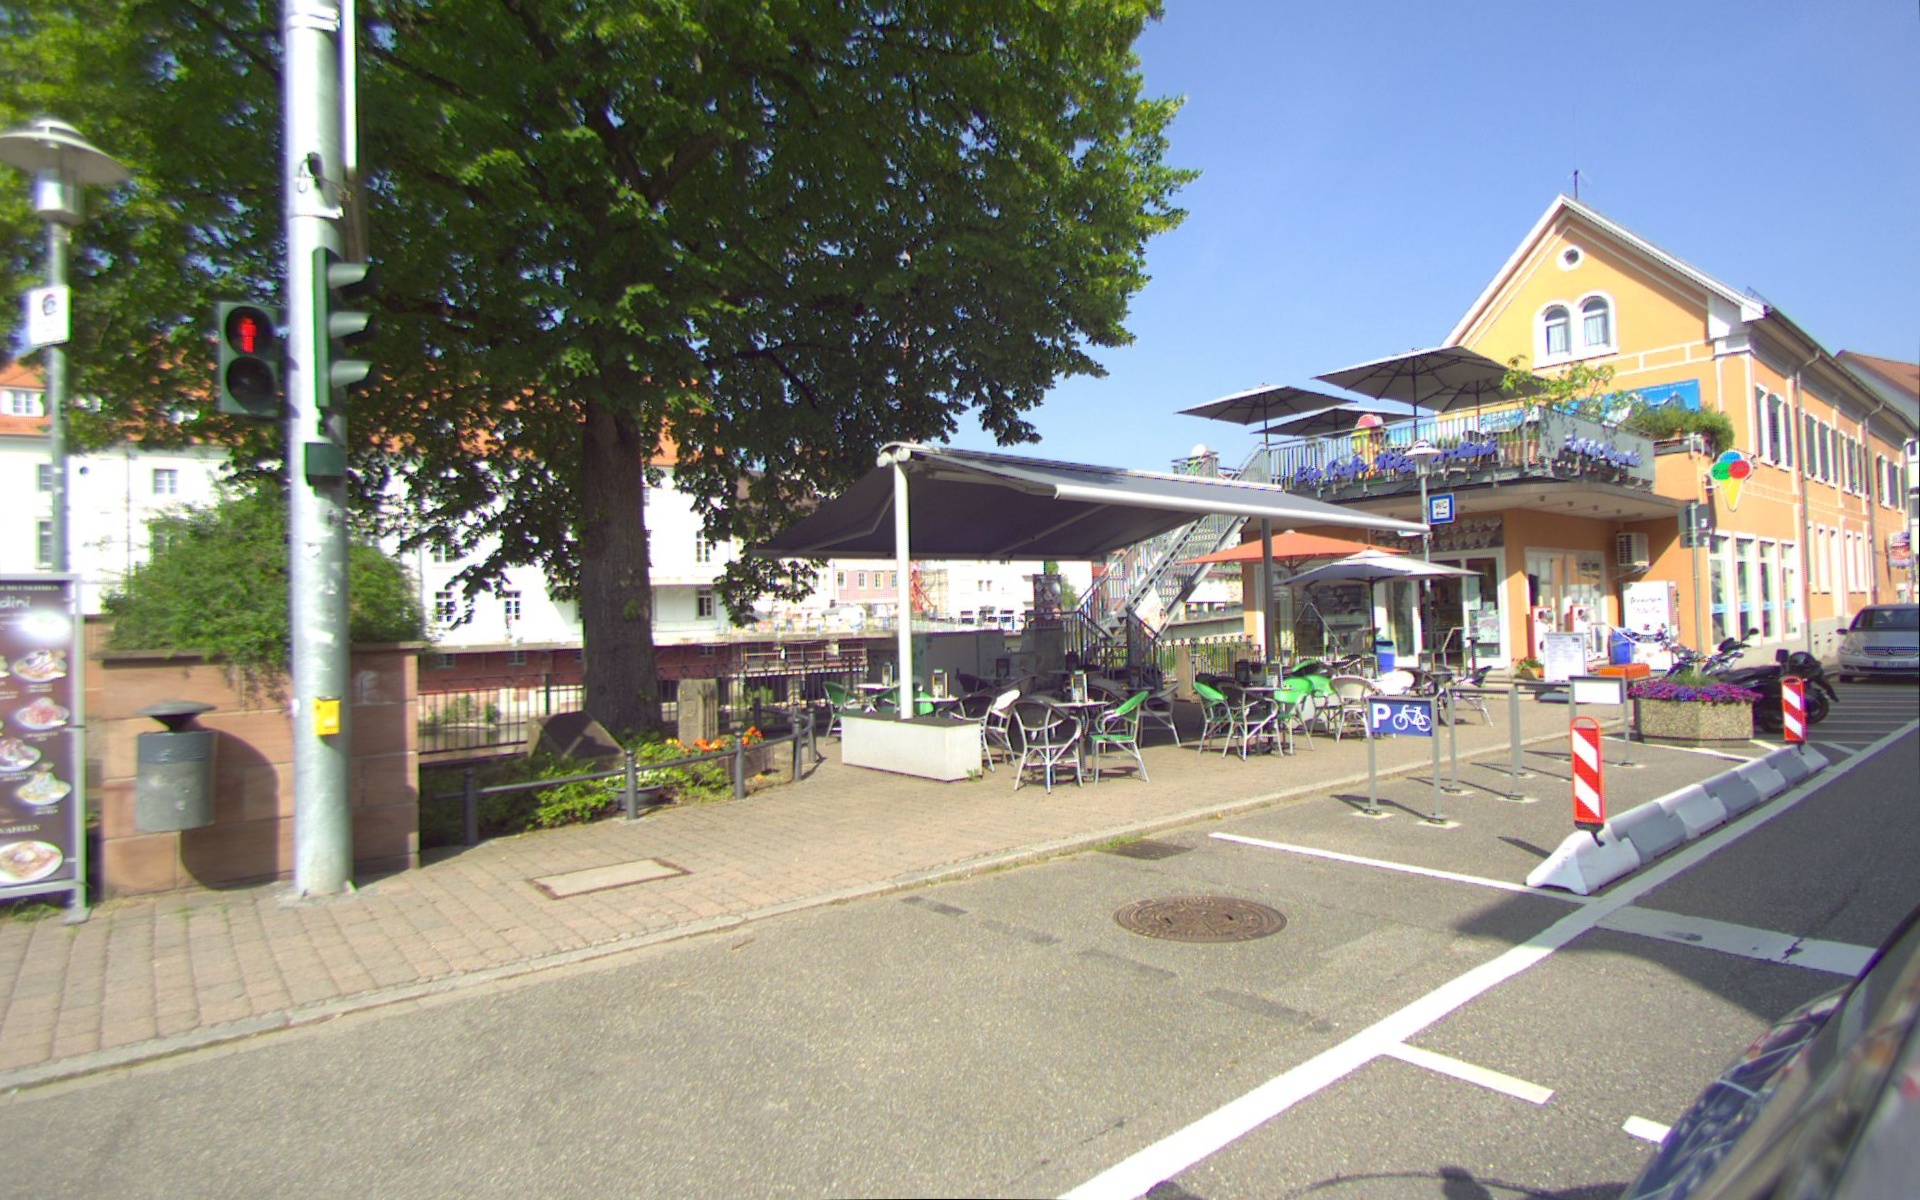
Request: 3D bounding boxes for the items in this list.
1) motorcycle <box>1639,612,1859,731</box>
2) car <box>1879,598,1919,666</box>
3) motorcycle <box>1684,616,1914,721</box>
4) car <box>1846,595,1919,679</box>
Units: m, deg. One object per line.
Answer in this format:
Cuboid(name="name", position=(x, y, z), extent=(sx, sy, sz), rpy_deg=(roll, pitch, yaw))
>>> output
Cuboid(name="motorcycle", position=(9.608, 0.844, 12.426), extent=(1.873, 1.375, 0.912), rpy_deg=(-1, -1, 16))
Cuboid(name="car", position=(24.022, 0.734, 24.743), extent=(4.030, 1.579, 1.682), rpy_deg=(0, -2, -39))
Cuboid(name="motorcycle", position=(10.799, 0.864, 13.112), extent=(2.057, 1.286, 0.926), rpy_deg=(-1, -1, 11))
Cuboid(name="car", position=(19.988, 0.713, 21.084), extent=(4.515, 1.618, 1.747), rpy_deg=(0, -2, -42))
